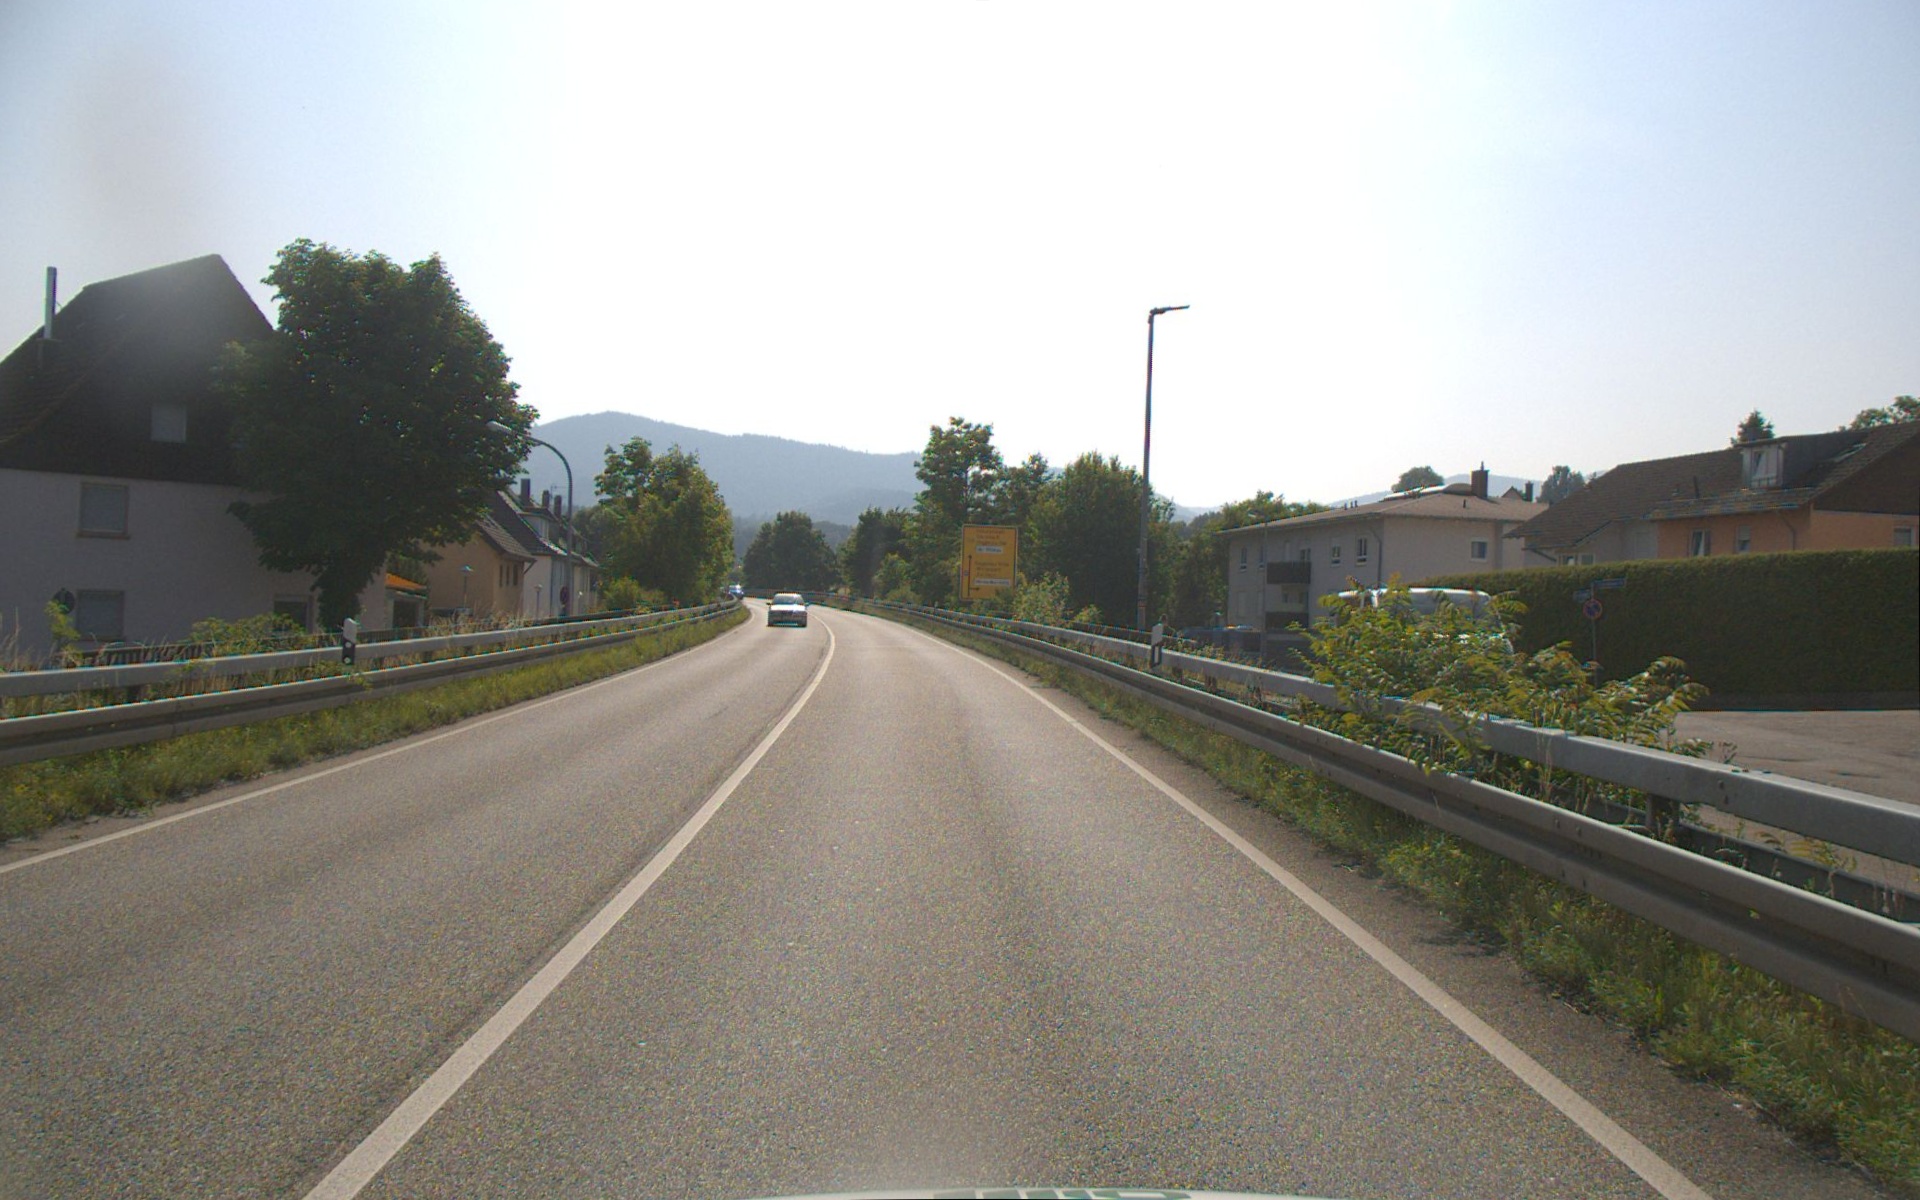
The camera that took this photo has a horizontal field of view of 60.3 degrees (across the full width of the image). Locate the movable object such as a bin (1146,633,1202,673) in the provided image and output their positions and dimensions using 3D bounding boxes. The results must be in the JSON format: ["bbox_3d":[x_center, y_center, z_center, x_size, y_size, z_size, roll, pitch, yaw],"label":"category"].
[{"bbox_3d":[12.012,2.971,92.871,2.730,2.049,1.585,3,0,-6],"label":"movable object such as a bin"}]

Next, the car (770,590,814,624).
[{"bbox_3d":[-7.354,0.299,72.797,1.723,1.435,3.987,-1,0,-3],"label":"car"}]

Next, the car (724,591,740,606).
[{"bbox_3d":[-26.047,-0.164,188.709,1.773,1.588,3.986,-1,0,-8],"label":"car"}]

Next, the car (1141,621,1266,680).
[{"bbox_3d":[12.513,2.627,85.199,5.955,2.735,2.310,2,-4,-6],"label":"car"}]

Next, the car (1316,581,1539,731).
[{"bbox_3d":[6.802,0.727,24.716,1.952,1.979,5.362,1,0,2],"label":"car"}]

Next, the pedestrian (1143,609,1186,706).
[{"bbox_3d":[4.376,1.215,35.410,0.771,2.049,0.997,1,0,0],"label":"pedestrian"}]
